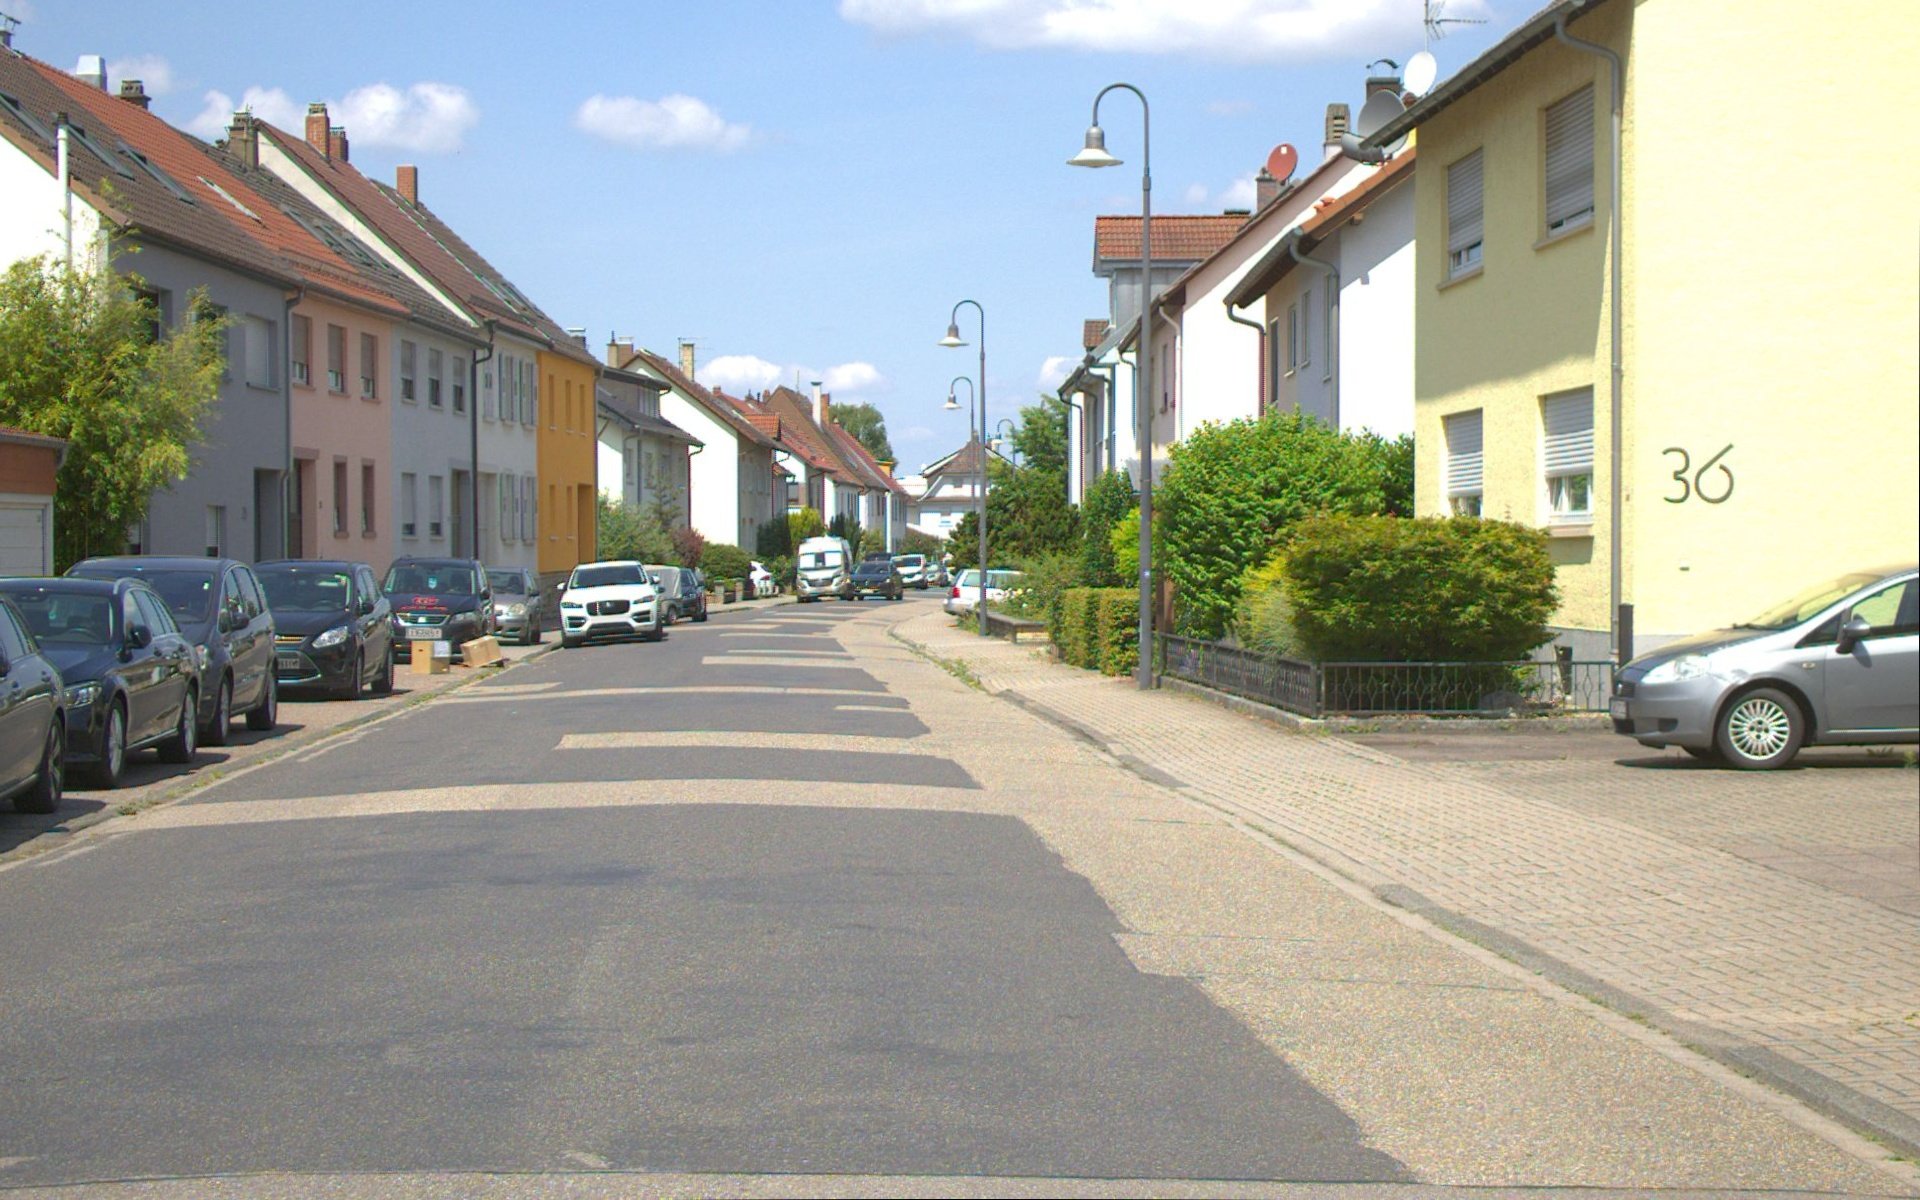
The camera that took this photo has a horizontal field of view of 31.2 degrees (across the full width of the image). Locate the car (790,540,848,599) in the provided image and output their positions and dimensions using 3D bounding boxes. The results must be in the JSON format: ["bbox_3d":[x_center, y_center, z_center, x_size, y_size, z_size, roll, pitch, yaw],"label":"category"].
[{"bbox_3d":[-5.670,-1.201,138.794,2.045,2.304,3.771,1,0,1],"label":"car"}]

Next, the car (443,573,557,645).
[{"bbox_3d":[-9.032,0.156,67.725,1.672,1.331,3.722,2,0,0],"label":"car"}]

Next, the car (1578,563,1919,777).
[{"bbox_3d":[6.644,0.473,24.871,3.986,1.468,1.746,0,1,-2],"label":"car"}]

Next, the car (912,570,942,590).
[{"bbox_3d":[-1.986,-1.234,210.782,1.691,1.129,3.771,1,0,1],"label":"car"}]

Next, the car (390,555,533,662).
[{"bbox_3d":[-8.022,0.115,55.577,1.810,1.603,4.000,2,0,-2],"label":"car"}]

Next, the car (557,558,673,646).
[{"bbox_3d":[-6.867,0.020,68.777,1.850,1.653,4.000,2,0,0],"label":"car"}]

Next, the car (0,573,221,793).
[{"bbox_3d":[-6.785,0.549,25.462,1.816,1.429,4.140,2,0,-2],"label":"car"}]

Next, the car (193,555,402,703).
[{"bbox_3d":[-7.805,0.310,40.793,1.779,1.603,4.000,2,0,-2],"label":"car"}]

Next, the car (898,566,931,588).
[{"bbox_3d":[-2.534,-1.265,191.354,1.691,1.129,3.771,1,0,1],"label":"car"}]

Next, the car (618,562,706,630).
[{"bbox_3d":[-7.719,-0.115,89.263,1.850,1.653,4.000,2,0,0],"label":"car"}]

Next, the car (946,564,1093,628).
[{"bbox_3d":[1.461,-0.098,84.906,3.523,1.459,1.628,1,0,-2],"label":"car"}]

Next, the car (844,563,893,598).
[{"bbox_3d":[-3.585,-0.757,135.394,1.691,1.337,3.771,1,0,1],"label":"car"}]

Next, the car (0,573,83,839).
[{"bbox_3d":[-6.377,0.590,19.842,1.816,1.428,4.140,4,2,-5],"label":"car"}]

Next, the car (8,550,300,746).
[{"bbox_3d":[-7.210,0.387,31.123,1.779,1.603,4.000,2,0,-2],"label":"car"}]
